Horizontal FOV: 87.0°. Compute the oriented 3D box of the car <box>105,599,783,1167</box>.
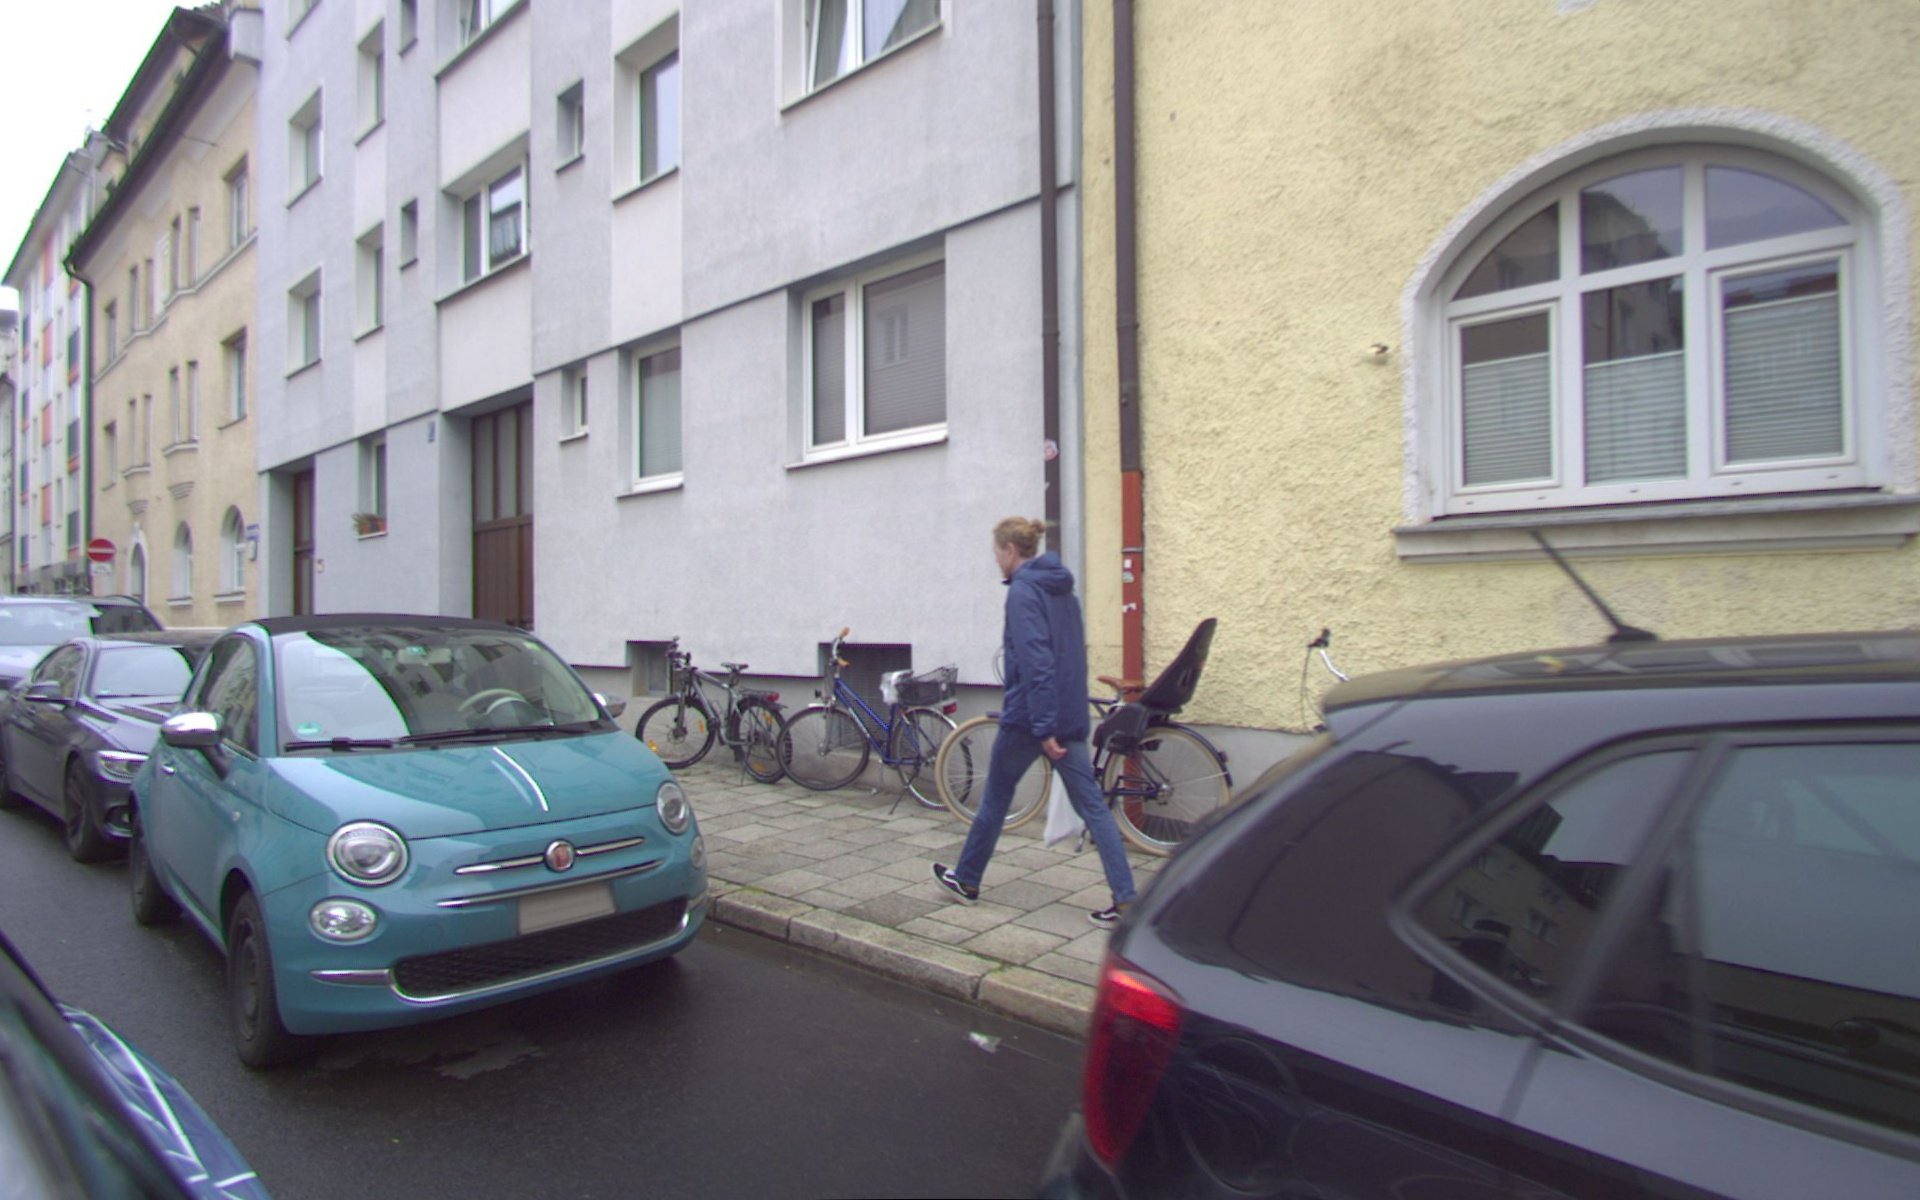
[{"bbox_3d":[-2.426,0.780,4.381,3.404,1.471,1.545,-1,-2,43],"label":"car"}]

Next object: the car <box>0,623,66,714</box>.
[{"bbox_3d":[-16.494,1.127,17.042,3.732,1.422,1.634,-2,-4,41],"label":"car"}]

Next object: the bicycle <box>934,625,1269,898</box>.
[{"bbox_3d":[0.712,0.765,5.497,1.736,1.243,0.630,-1,-1,41],"label":"bicycle"}]

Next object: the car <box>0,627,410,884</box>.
[{"bbox_3d":[-6.045,0.942,7.736,4.248,1.397,1.793,-1,-3,40],"label":"car"}]

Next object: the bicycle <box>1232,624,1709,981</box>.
[{"bbox_3d":[2.117,0.731,4.362,1.735,1.243,0.587,-1,-1,41],"label":"bicycle"}]

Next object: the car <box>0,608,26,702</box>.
[{"bbox_3d":[-20.264,1.038,20.422,4.249,1.802,1.705,0,-3,43],"label":"car"}]

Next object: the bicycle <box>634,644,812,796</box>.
[{"bbox_3d":[-1.881,0.881,7.911,1.570,1.038,0.539,-1,-1,41],"label":"bicycle"}]

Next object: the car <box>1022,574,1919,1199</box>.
[{"bbox_3d":[1.997,0.717,0.576,3.761,1.471,1.547,-1,-2,40],"label":"car"}]

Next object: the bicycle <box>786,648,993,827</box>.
[{"bbox_3d":[-0.514,0.861,6.781,1.570,1.038,0.391,-1,-1,41],"label":"bicycle"}]

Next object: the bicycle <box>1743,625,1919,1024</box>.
[{"bbox_3d":[3.541,0.709,3.129,1.735,1.243,0.587,-1,-1,41],"label":"bicycle"}]

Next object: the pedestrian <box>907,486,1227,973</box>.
[{"bbox_3d":[0.455,0.479,4.372,1.067,1.778,0.830,-1,-1,41],"label":"pedestrian"}]

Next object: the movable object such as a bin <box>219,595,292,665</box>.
[{"bbox_3d":[-11.462,0.482,16.467,0.622,1.059,0.799,-1,2,41],"label":"movable object such as a bin"}]

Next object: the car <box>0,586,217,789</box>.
[{"bbox_3d":[-9.884,0.828,10.960,4.732,1.783,1.844,-1,-3,40],"label":"car"}]
